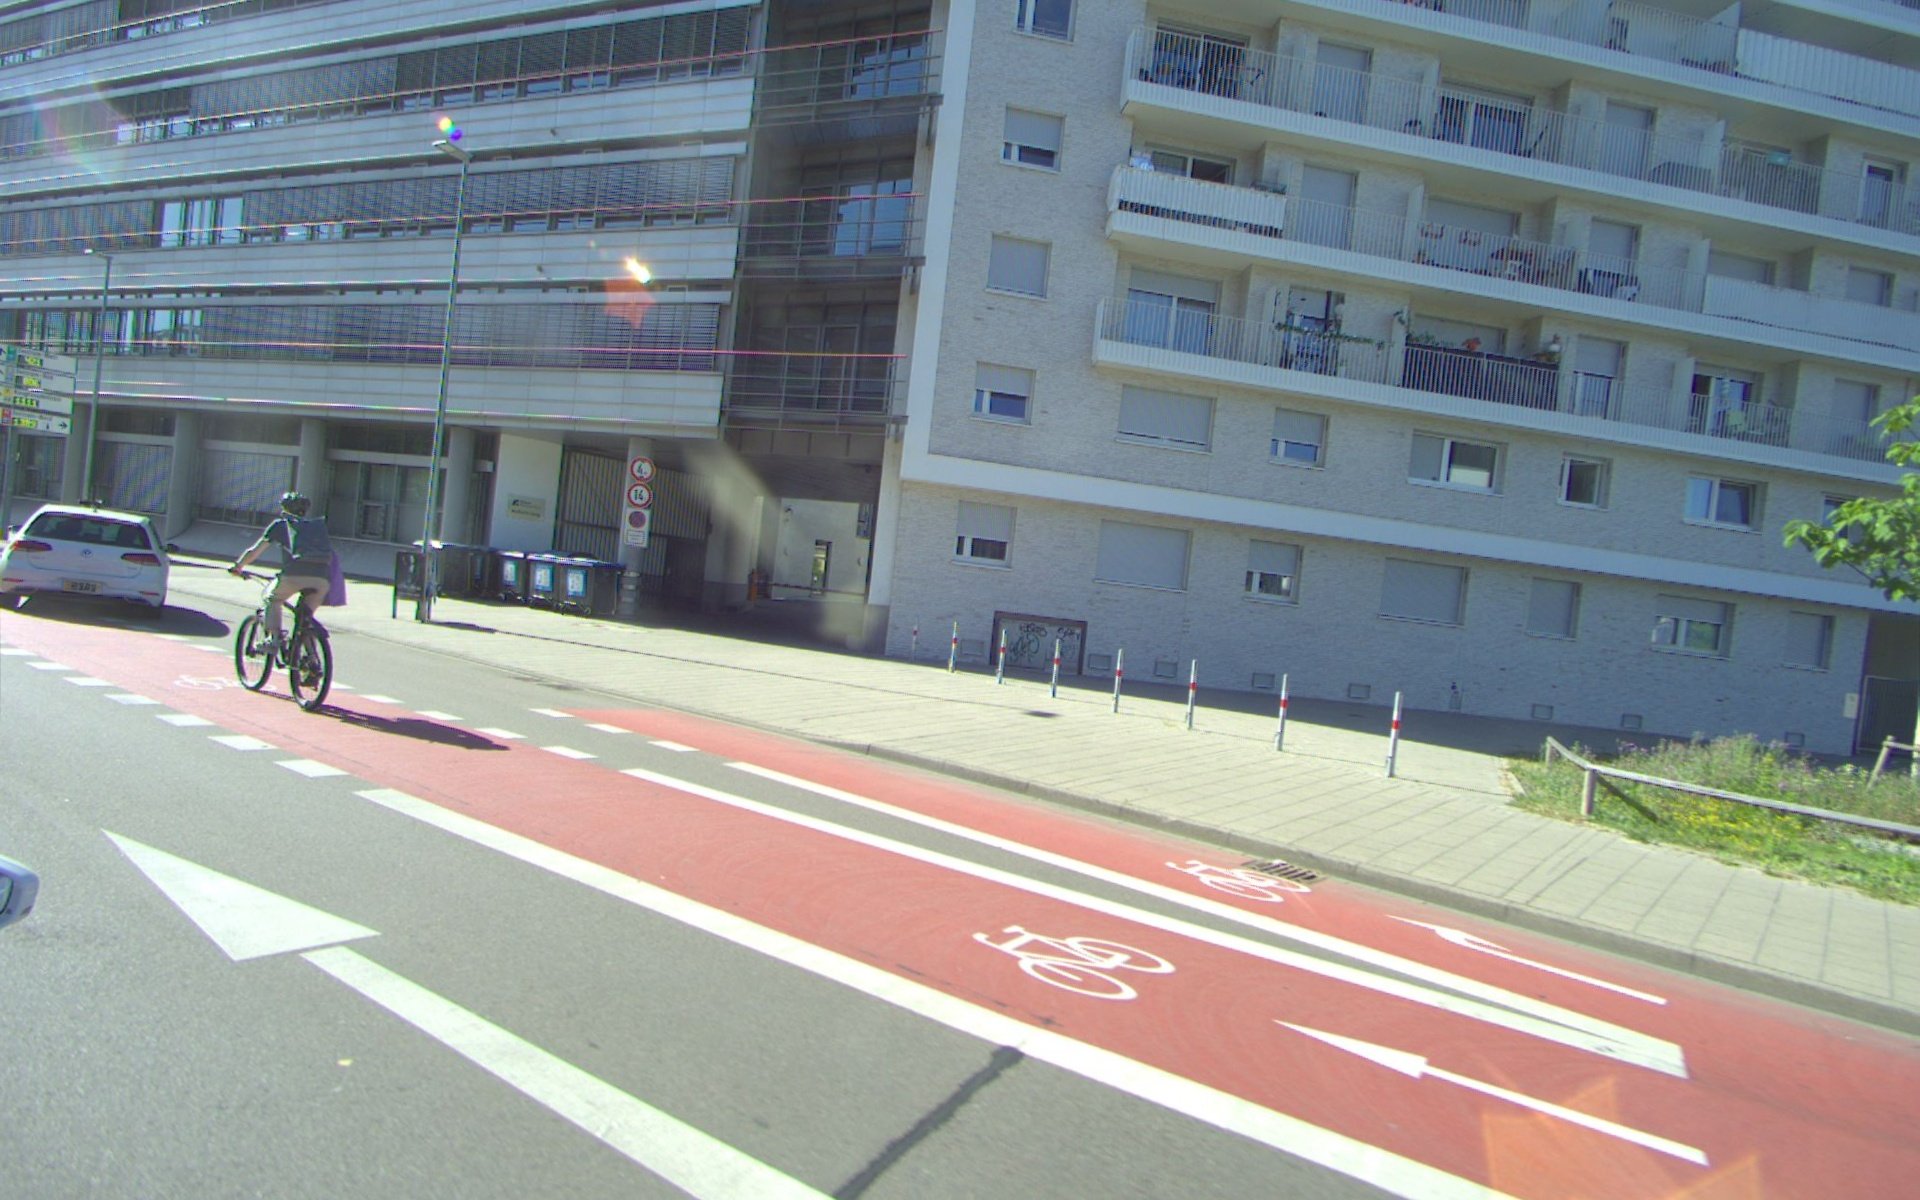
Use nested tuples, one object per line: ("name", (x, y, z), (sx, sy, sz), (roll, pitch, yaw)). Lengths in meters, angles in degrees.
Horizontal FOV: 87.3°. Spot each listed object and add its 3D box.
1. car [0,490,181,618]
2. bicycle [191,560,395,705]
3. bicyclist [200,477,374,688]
("car", (-12.977, -0.729, 14.720), (4.236, 1.419, 1.770), (6, -2, 44))
("bicycle", (-6.047, 0.278, 9.087), (1.862, 1.049, 0.826), (7, 0, 35))
("bicyclist", (-5.981, -0.149, 8.946), (1.034, 1.713, 0.807), (7, 0, 35))
